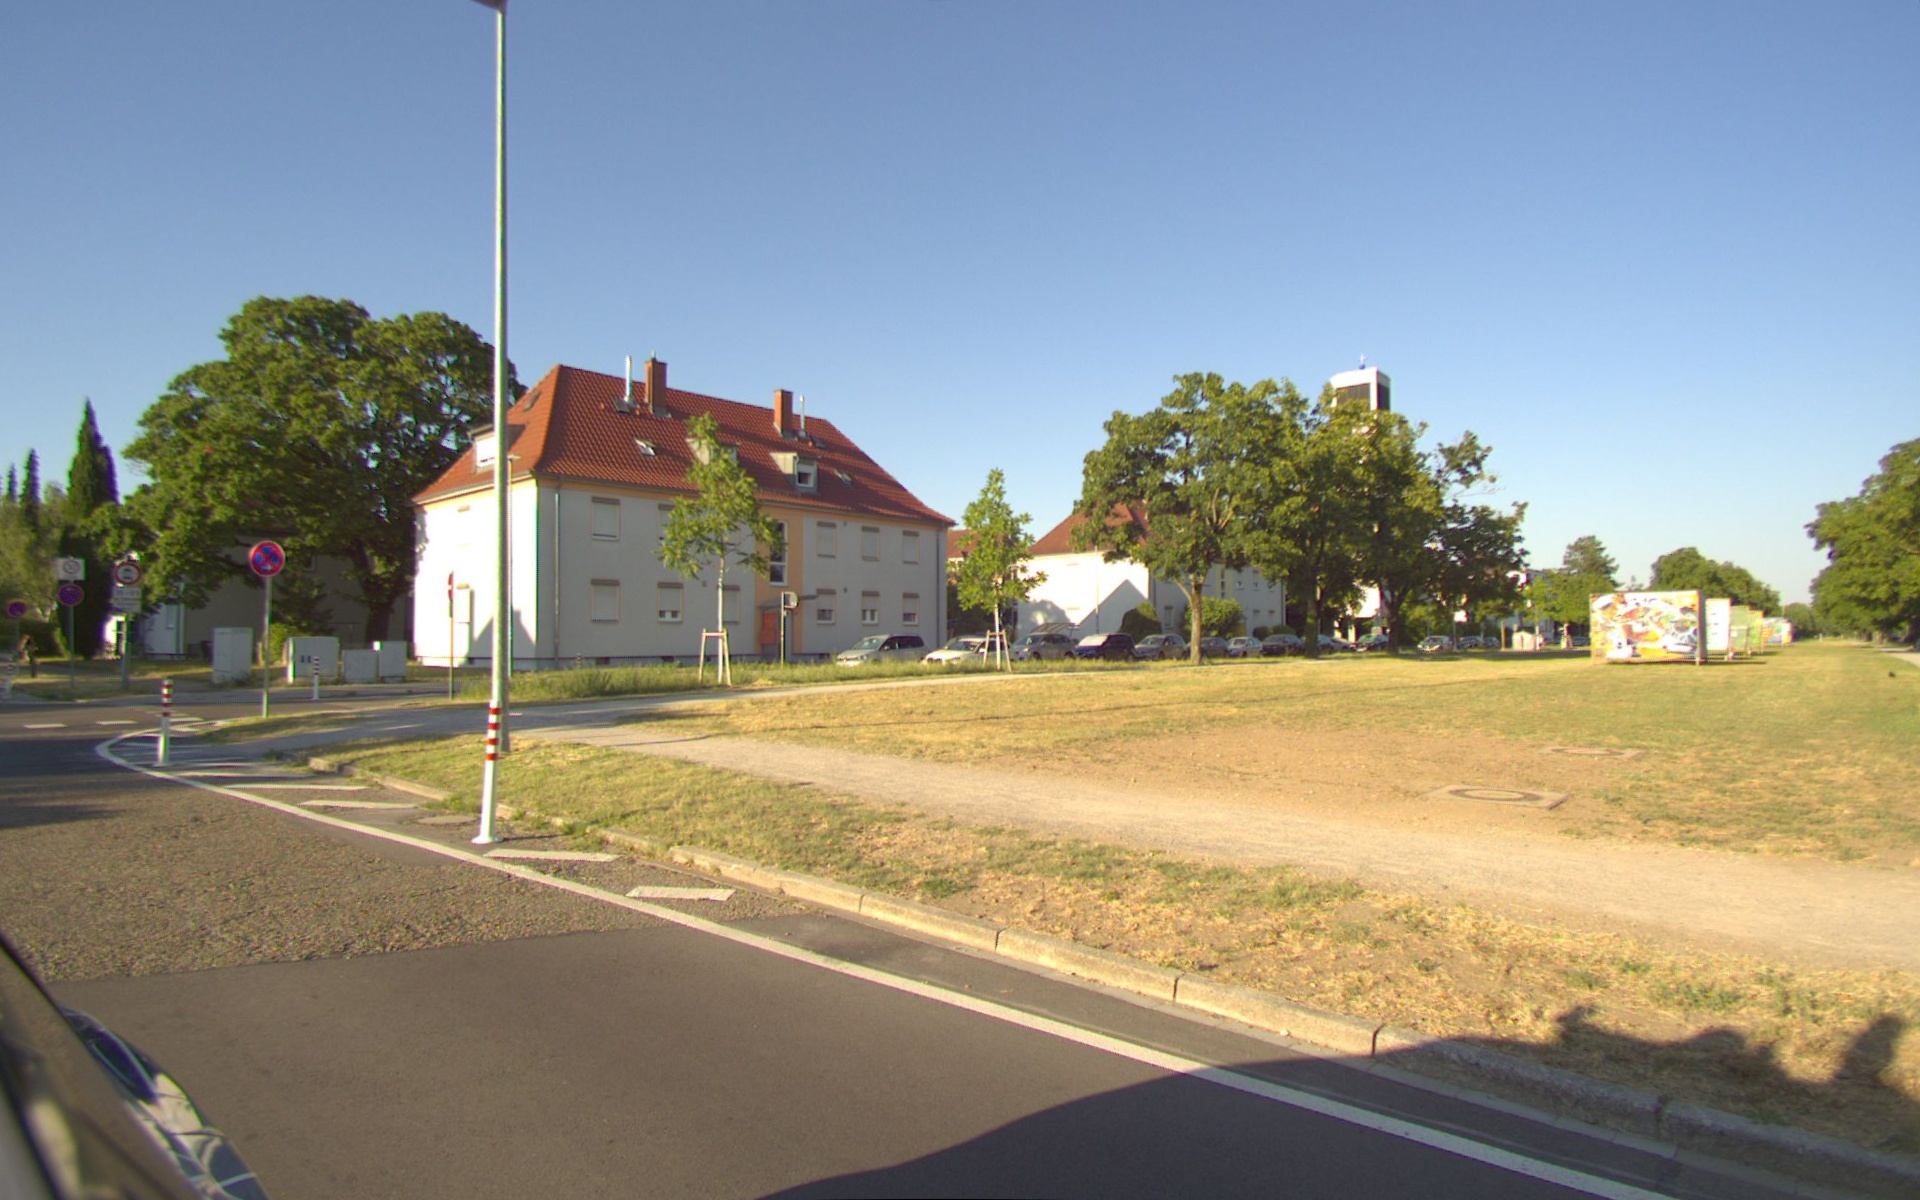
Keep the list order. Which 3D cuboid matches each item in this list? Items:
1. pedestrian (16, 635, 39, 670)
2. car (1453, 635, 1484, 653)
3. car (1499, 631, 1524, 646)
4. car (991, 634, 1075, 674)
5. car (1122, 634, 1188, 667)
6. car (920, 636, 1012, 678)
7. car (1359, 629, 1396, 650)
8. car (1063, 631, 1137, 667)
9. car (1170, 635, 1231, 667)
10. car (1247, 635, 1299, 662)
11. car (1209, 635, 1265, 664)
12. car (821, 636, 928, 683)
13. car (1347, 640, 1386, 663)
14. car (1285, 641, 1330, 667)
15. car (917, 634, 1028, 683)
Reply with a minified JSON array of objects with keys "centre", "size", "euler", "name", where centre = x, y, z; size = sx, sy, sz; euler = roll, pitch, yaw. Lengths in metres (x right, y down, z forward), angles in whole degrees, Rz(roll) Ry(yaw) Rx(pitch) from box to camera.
[{"centre":[-54.615,3.048,59.252],"size":[0.692,2.029,0.887],"euler":[-2,-3,40],"name":"pedestrian"},{"centre":[50.531,4.403,100.630],"size":[1.849,1.709,3.947],"euler":[-5,-4,39],"name":"car"},{"centre":[66.082,4.574,121.225],"size":[1.849,1.709,3.947],"euler":[-5,-4,39],"name":"car"},{"centre":[3.383,2.461,46.528],"size":[1.849,1.709,3.947],"euler":[-5,-4,39],"name":"car"},{"centre":[10.642,2.744,55.105],"size":[1.849,1.709,3.947],"euler":[-5,-4,39],"name":"car"},{"centre":[0.299,2.417,43.335],"size":[1.849,1.709,3.947],"euler":[-5,-4,39],"name":"car"},{"centre":[36.175,3.418,87.618],"size":[1.849,1.709,3.947],"euler":[-5,-4,39],"name":"car"},{"centre":[7.014,2.431,50.541],"size":[1.849,1.709,3.947],"euler":[-5,-4,39],"name":"car"},{"centre":[14.000,2.941,58.832],"size":[1.849,1.709,3.947],"euler":[-5,-4,39],"name":"car"},{"centre":[20.611,3.180,66.558],"size":[1.849,1.709,3.947],"euler":[-5,-4,39],"name":"car"},{"centre":[17.236,3.047,62.932],"size":[1.849,1.709,3.947],"euler":[-5,-4,39],"name":"car"},{"centre":[-3.259,2.270,39.094],"size":[1.849,1.709,3.947],"euler":[-5,-4,39],"name":"car"},{"centre":[31.666,3.973,78.771],"size":[1.806,1.730,3.299],"euler":[-1,-2,41],"name":"car"},{"centre":[23.994,3.702,69.840],"size":[1.806,1.730,3.299],"euler":[-1,-2,41],"name":"car"},{"centre":[0.513,2.161,37.871],"size":[1.869,1.709,4.243],"euler":[-5,-4,39],"name":"car"}]
